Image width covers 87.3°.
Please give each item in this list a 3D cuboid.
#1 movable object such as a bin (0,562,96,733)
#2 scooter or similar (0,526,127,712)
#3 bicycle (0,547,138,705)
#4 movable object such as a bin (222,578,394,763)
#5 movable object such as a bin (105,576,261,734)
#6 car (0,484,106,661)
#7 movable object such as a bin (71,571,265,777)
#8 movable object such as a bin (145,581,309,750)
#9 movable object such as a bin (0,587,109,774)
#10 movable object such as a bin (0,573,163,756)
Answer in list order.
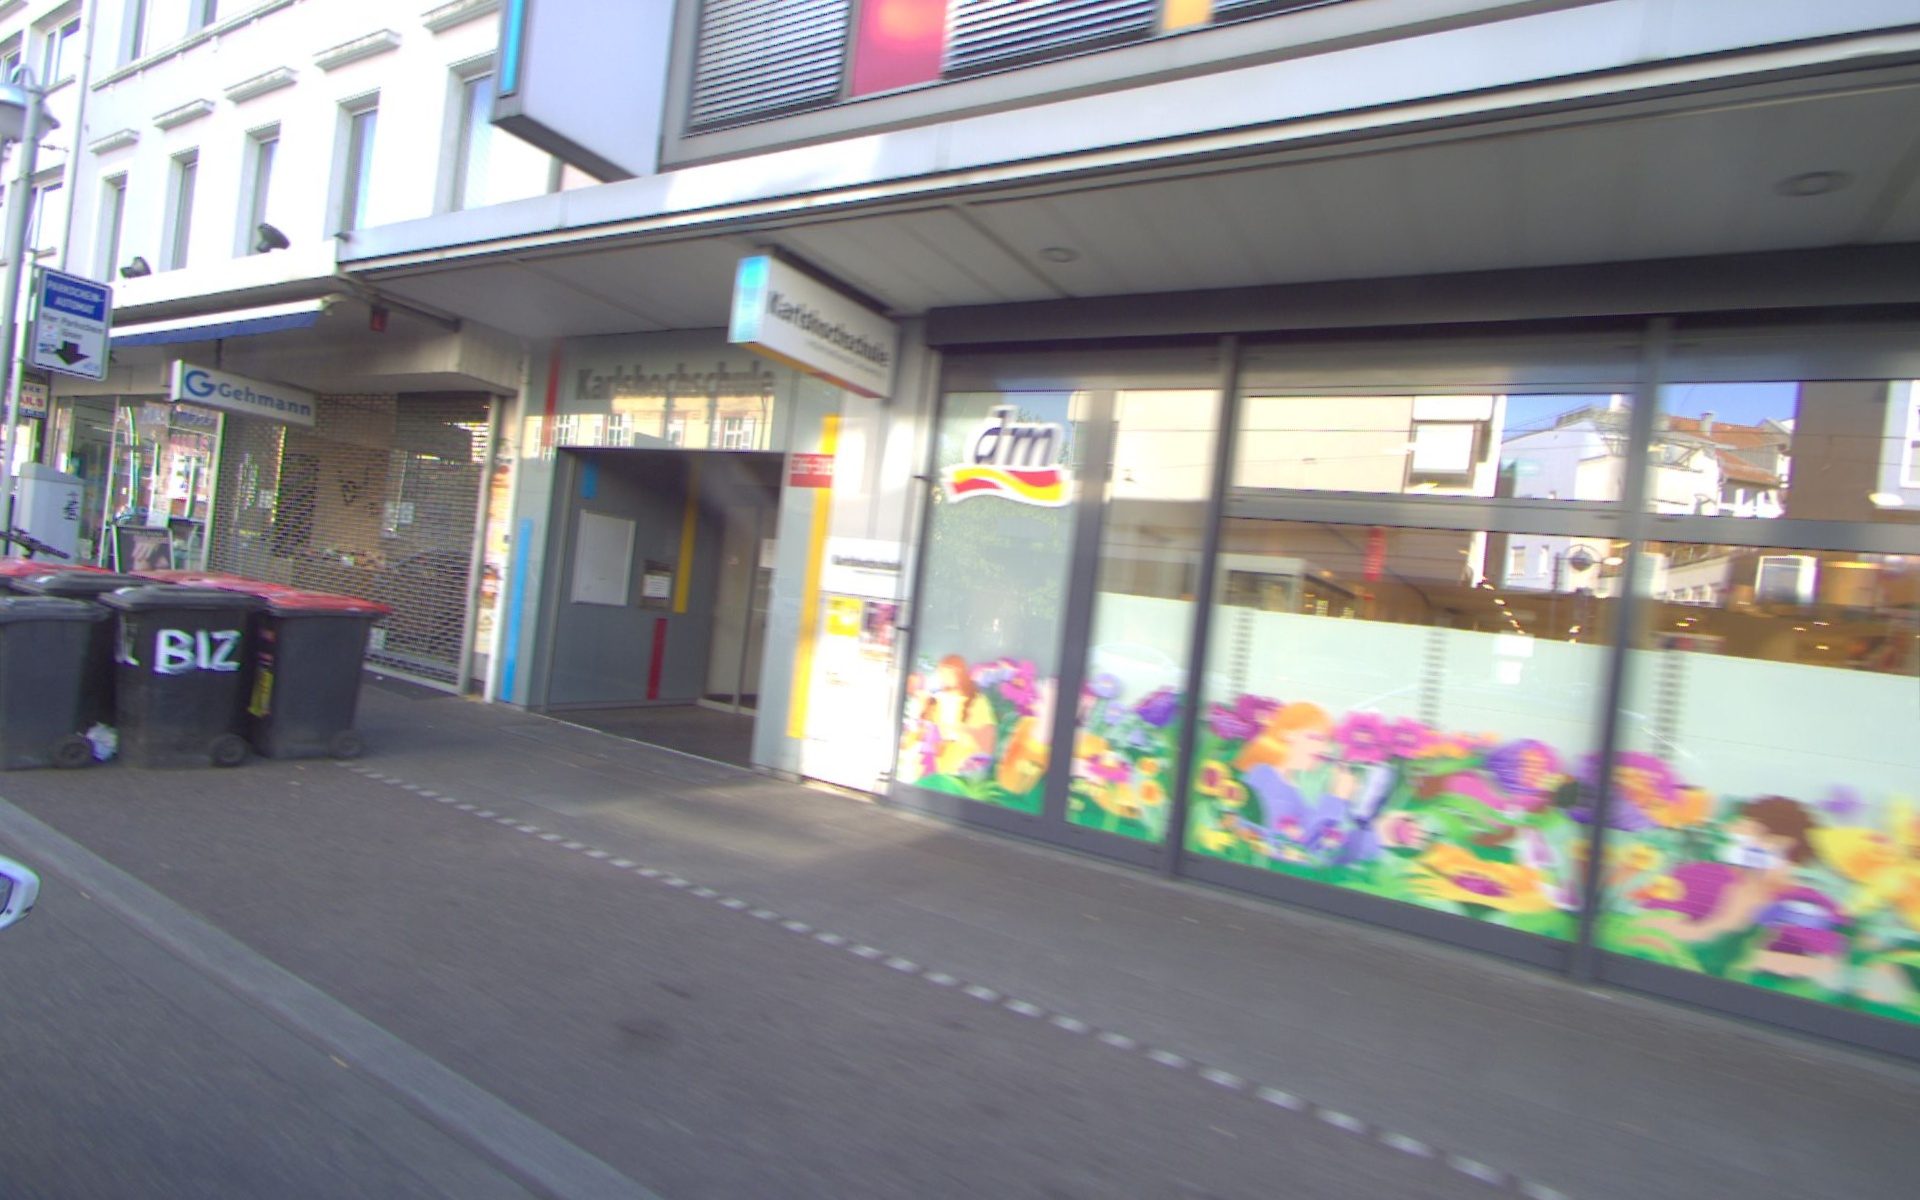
[{"bbox_3d":[-6.079,0.293,6.512,0.660,1.027,0.522,7,1,34],"label":"movable object such as a bin"},{"bbox_3d":[-6.504,0.128,6.992,0.314,1.248,0.993,7,2,30],"label":"scooter or similar"},{"bbox_3d":[-6.744,0.186,7.290,0.314,1.093,1.132,7,1,30],"label":"bicycle"},{"bbox_3d":[-4.341,0.455,6.707,0.655,1.102,0.690,7,1,35],"label":"movable object such as a bin"},{"bbox_3d":[-5.567,0.390,7.220,0.626,1.027,0.658,7,1,34],"label":"movable object such as a bin"},{"bbox_3d":[-10.209,-0.439,9.810,4.002,1.547,1.616,6,0,31],"label":"car"},{"bbox_3d":[-4.772,0.427,6.067,0.675,1.102,0.690,7,1,35],"label":"movable object such as a bin"},{"bbox_3d":[-4.955,0.437,6.810,0.626,1.027,0.658,7,1,34],"label":"movable object such as a bin"},{"bbox_3d":[-5.174,0.439,5.616,0.450,0.970,0.487,7,1,35],"label":"movable object such as a bin"},{"bbox_3d":[-5.474,0.391,6.212,0.500,1.027,0.686,7,1,34],"label":"movable object such as a bin"}]
